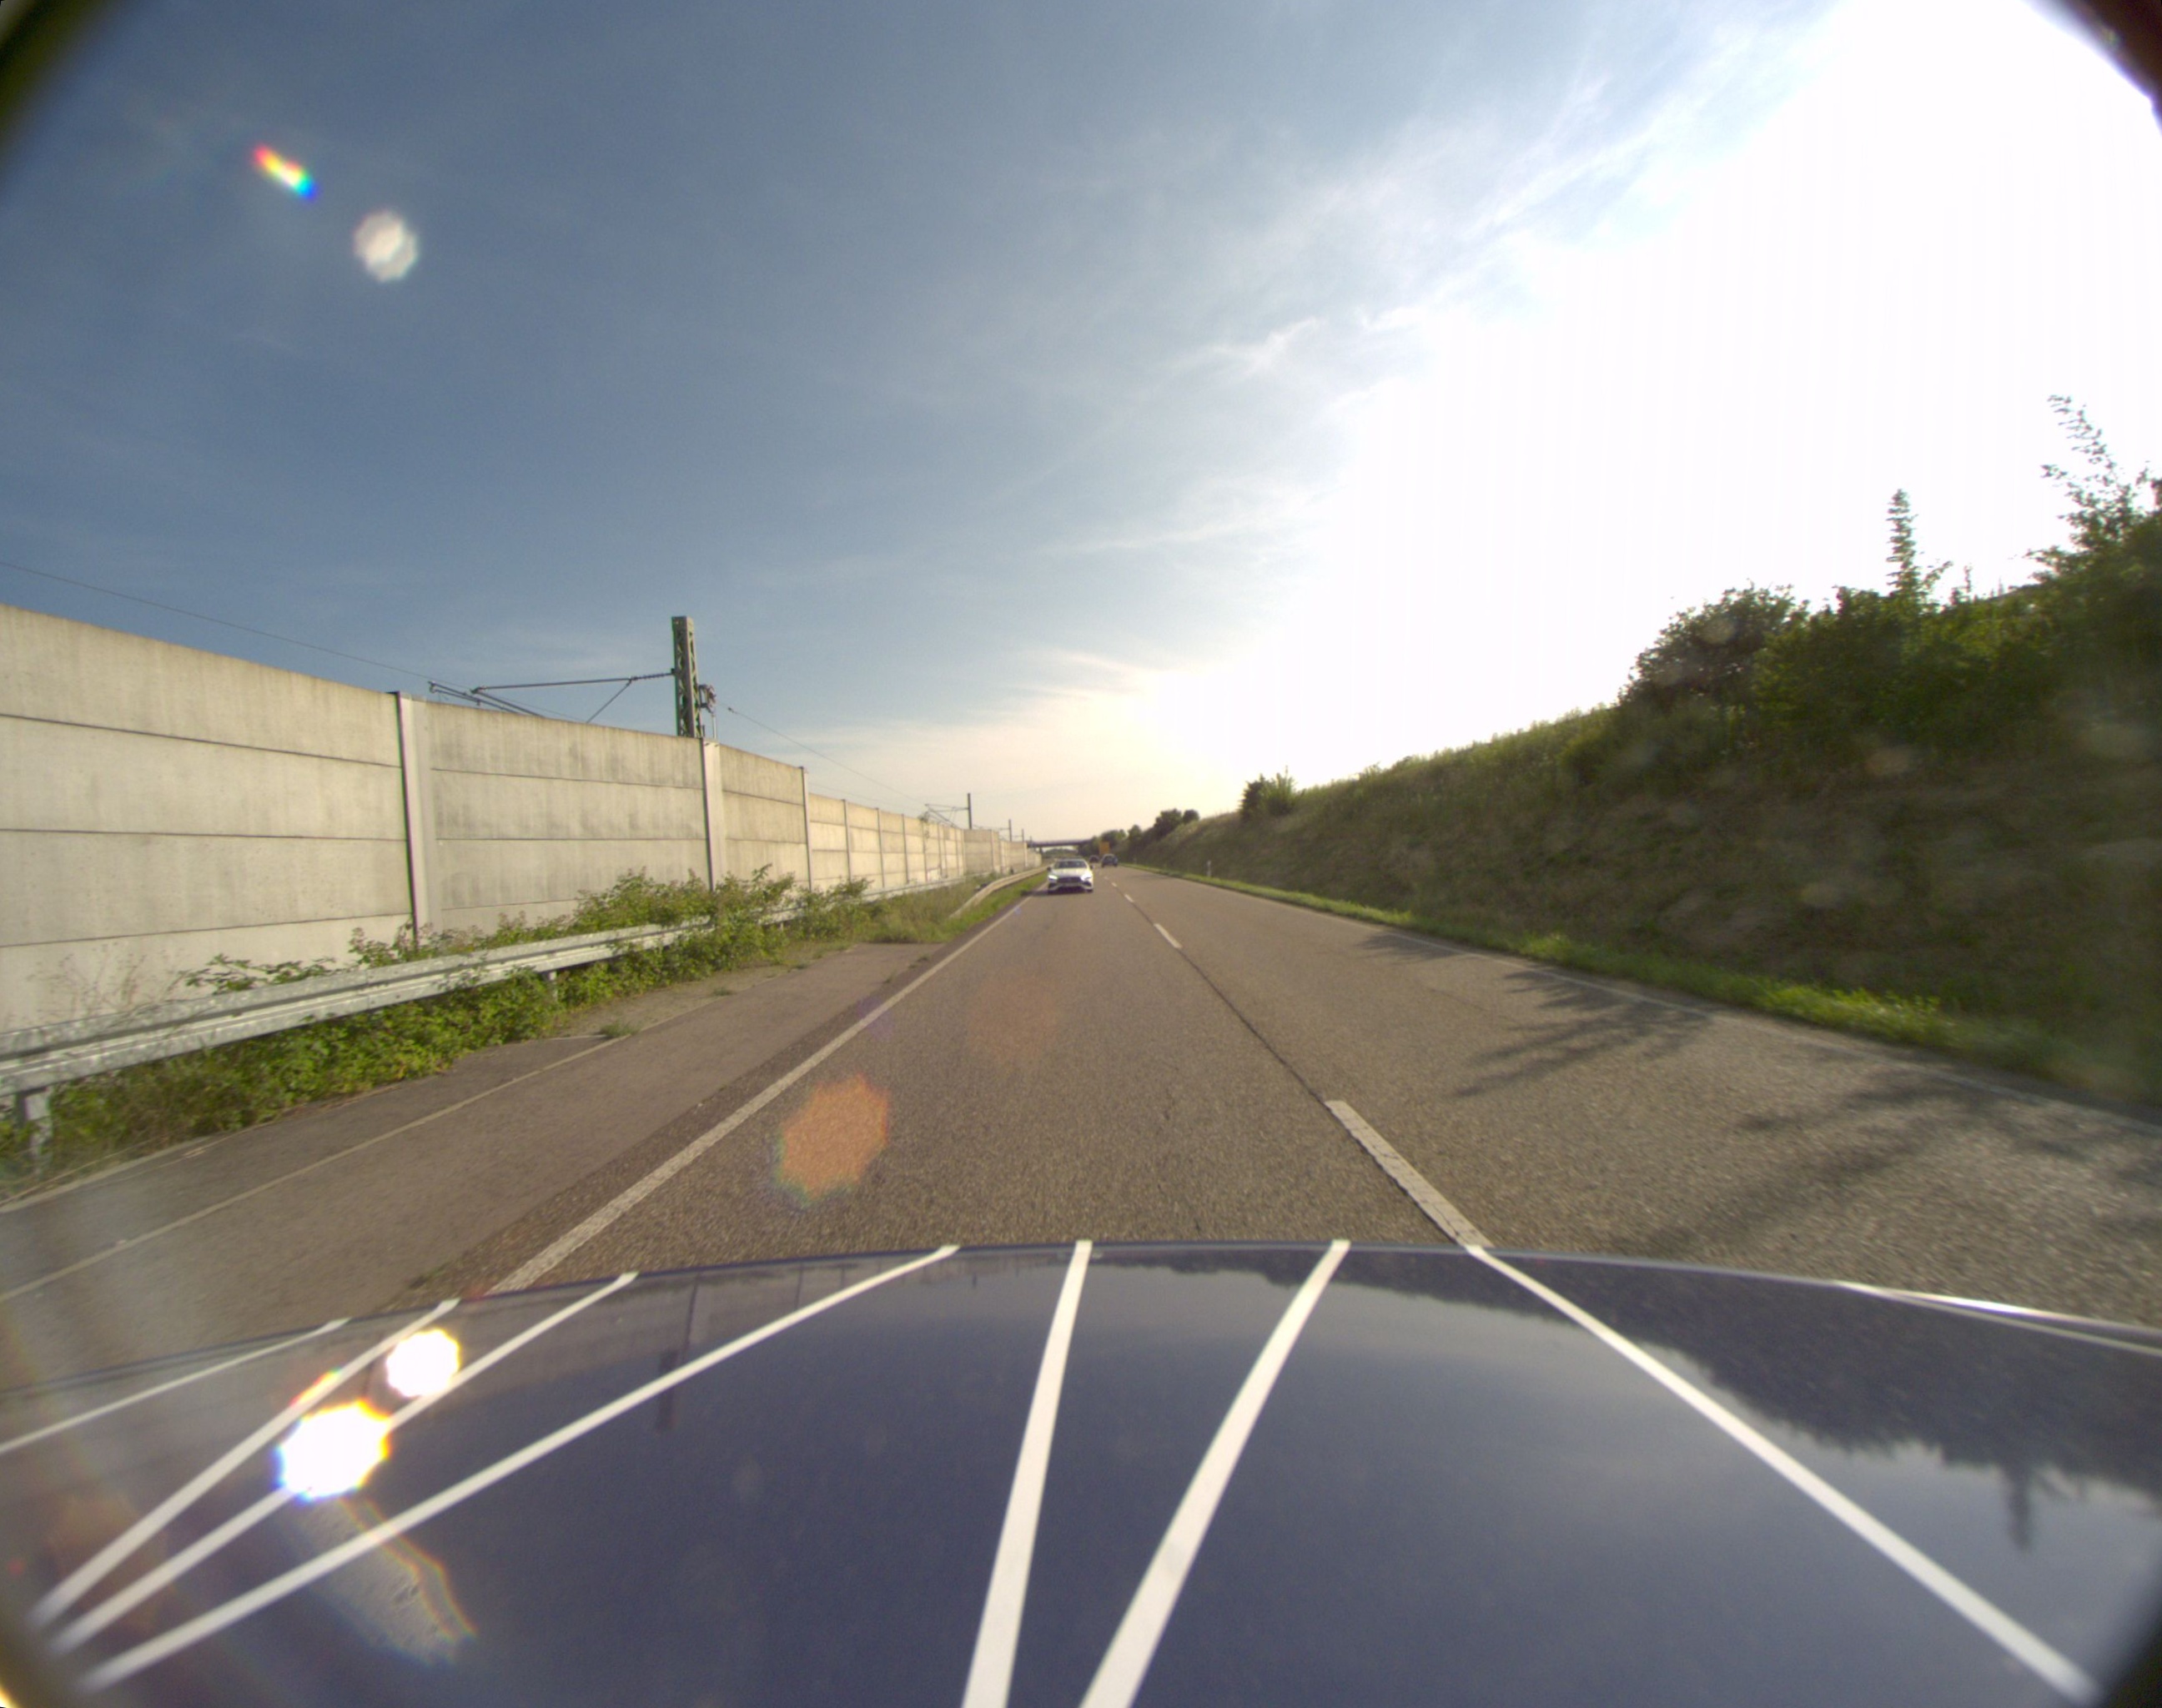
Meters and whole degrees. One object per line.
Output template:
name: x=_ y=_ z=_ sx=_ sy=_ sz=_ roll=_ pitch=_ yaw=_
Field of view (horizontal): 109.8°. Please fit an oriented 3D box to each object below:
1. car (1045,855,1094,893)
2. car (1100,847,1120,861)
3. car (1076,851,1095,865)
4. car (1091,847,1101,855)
car: x=-0.430 y=0.811 z=32.928 sx=1.930 sy=1.399 sz=4.974 roll=-3 pitch=0 yaw=1
car: x=3.482 y=-0.064 z=92.985 sx=2.146 sy=1.564 sz=5.339 roll=-3 pitch=0 yaw=0
car: x=0.484 y=0.396 z=84.861 sx=1.930 sy=1.399 sz=4.973 roll=-2 pitch=1 yaw=0
car: x=2.789 y=-0.555 z=145.359 sx=1.721 sy=1.445 sz=4.017 roll=-3 pitch=1 yaw=-1
